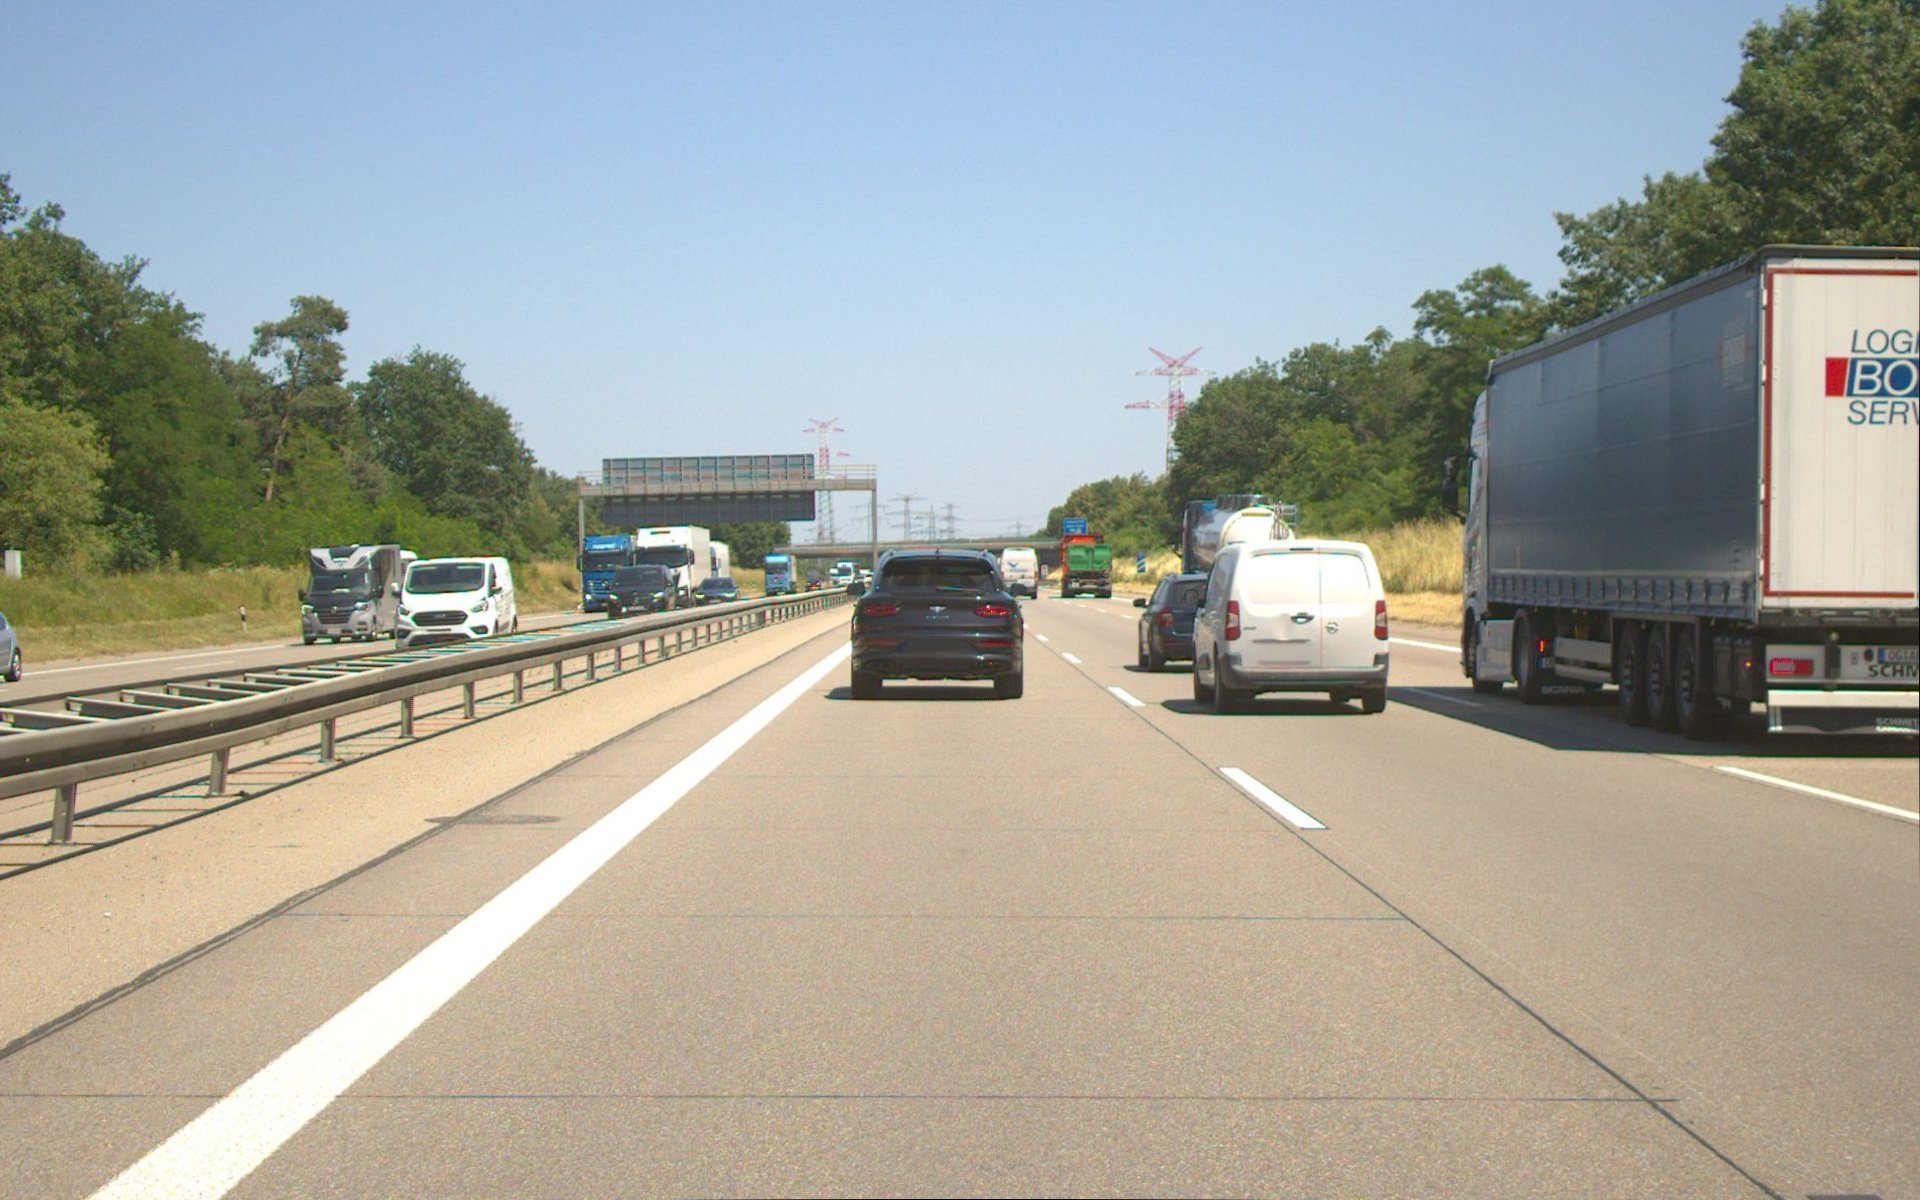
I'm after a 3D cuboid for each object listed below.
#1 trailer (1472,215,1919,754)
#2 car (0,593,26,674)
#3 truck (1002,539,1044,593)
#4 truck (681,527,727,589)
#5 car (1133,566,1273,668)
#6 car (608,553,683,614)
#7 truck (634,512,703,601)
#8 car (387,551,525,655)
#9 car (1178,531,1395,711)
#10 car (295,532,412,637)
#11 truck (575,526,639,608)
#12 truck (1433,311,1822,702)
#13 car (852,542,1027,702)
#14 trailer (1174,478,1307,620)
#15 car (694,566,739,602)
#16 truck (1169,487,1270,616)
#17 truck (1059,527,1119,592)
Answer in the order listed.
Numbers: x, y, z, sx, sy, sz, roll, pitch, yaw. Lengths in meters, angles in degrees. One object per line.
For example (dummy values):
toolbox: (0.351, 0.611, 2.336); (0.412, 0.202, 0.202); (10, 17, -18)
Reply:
trailer: (7.775, -0.947, 33.734); (3.286, 4.205, 13.566); (1, 0, -1)
car: (-18.211, 0.654, 62.156); (1.569, 1.460, 4.036); (-3, 1, -1)
truck: (3.441, -1.874, 188.396); (2.060, 2.904, 7.003); (0, 0, -1)
truck: (-17.782, -2.928, 239.147); (2.702, 4.172, 6.189); (-3, 1, -1)
car: (3.615, 0.230, 51.603); (1.774, 1.467, 3.873); (0, 0, -1)
car: (-10.183, -0.552, 111.611); (1.876, 1.841, 5.834); (-3, 1, 0)
truck: (-13.708, -2.051, 162.032); (2.668, 3.976, 6.341); (-3, 1, -1)
car: (-10.188, 0.018, 69.862); (1.995, 1.940, 5.743); (-3, 1, -1)
car: (3.490, 0.189, 37.560); (1.814, 1.821, 5.111); (0, 0, -1)
car: (-17.589, -0.468, 99.983); (2.213, 2.848, 6.454); (-3, 1, -1)
truck: (-18.638, -1.734, 181.656); (2.668, 4.155, 6.189); (-3, 1, -1)
truck: (7.677, -1.041, 40.415); (3.286, 4.205, 6.008); (1, 0, -1)
car: (-0.279, 0.194, 41.317); (1.940, 1.746, 5.814); (0, 1, -1)
trailer: (8.031, -1.439, 99.890); (2.682, 3.824, 12.011); (1, 0, -1)
car: (-10.661, -0.731, 150.775); (1.617, 1.477, 4.625); (-3, 1, -1)
truck: (7.954, -1.479, 105.695); (2.682, 3.824, 4.444); (1, 0, -1)
truck: (7.605, -2.359, 203.579); (2.989, 3.716, 10.090); (1, 0, -1)
